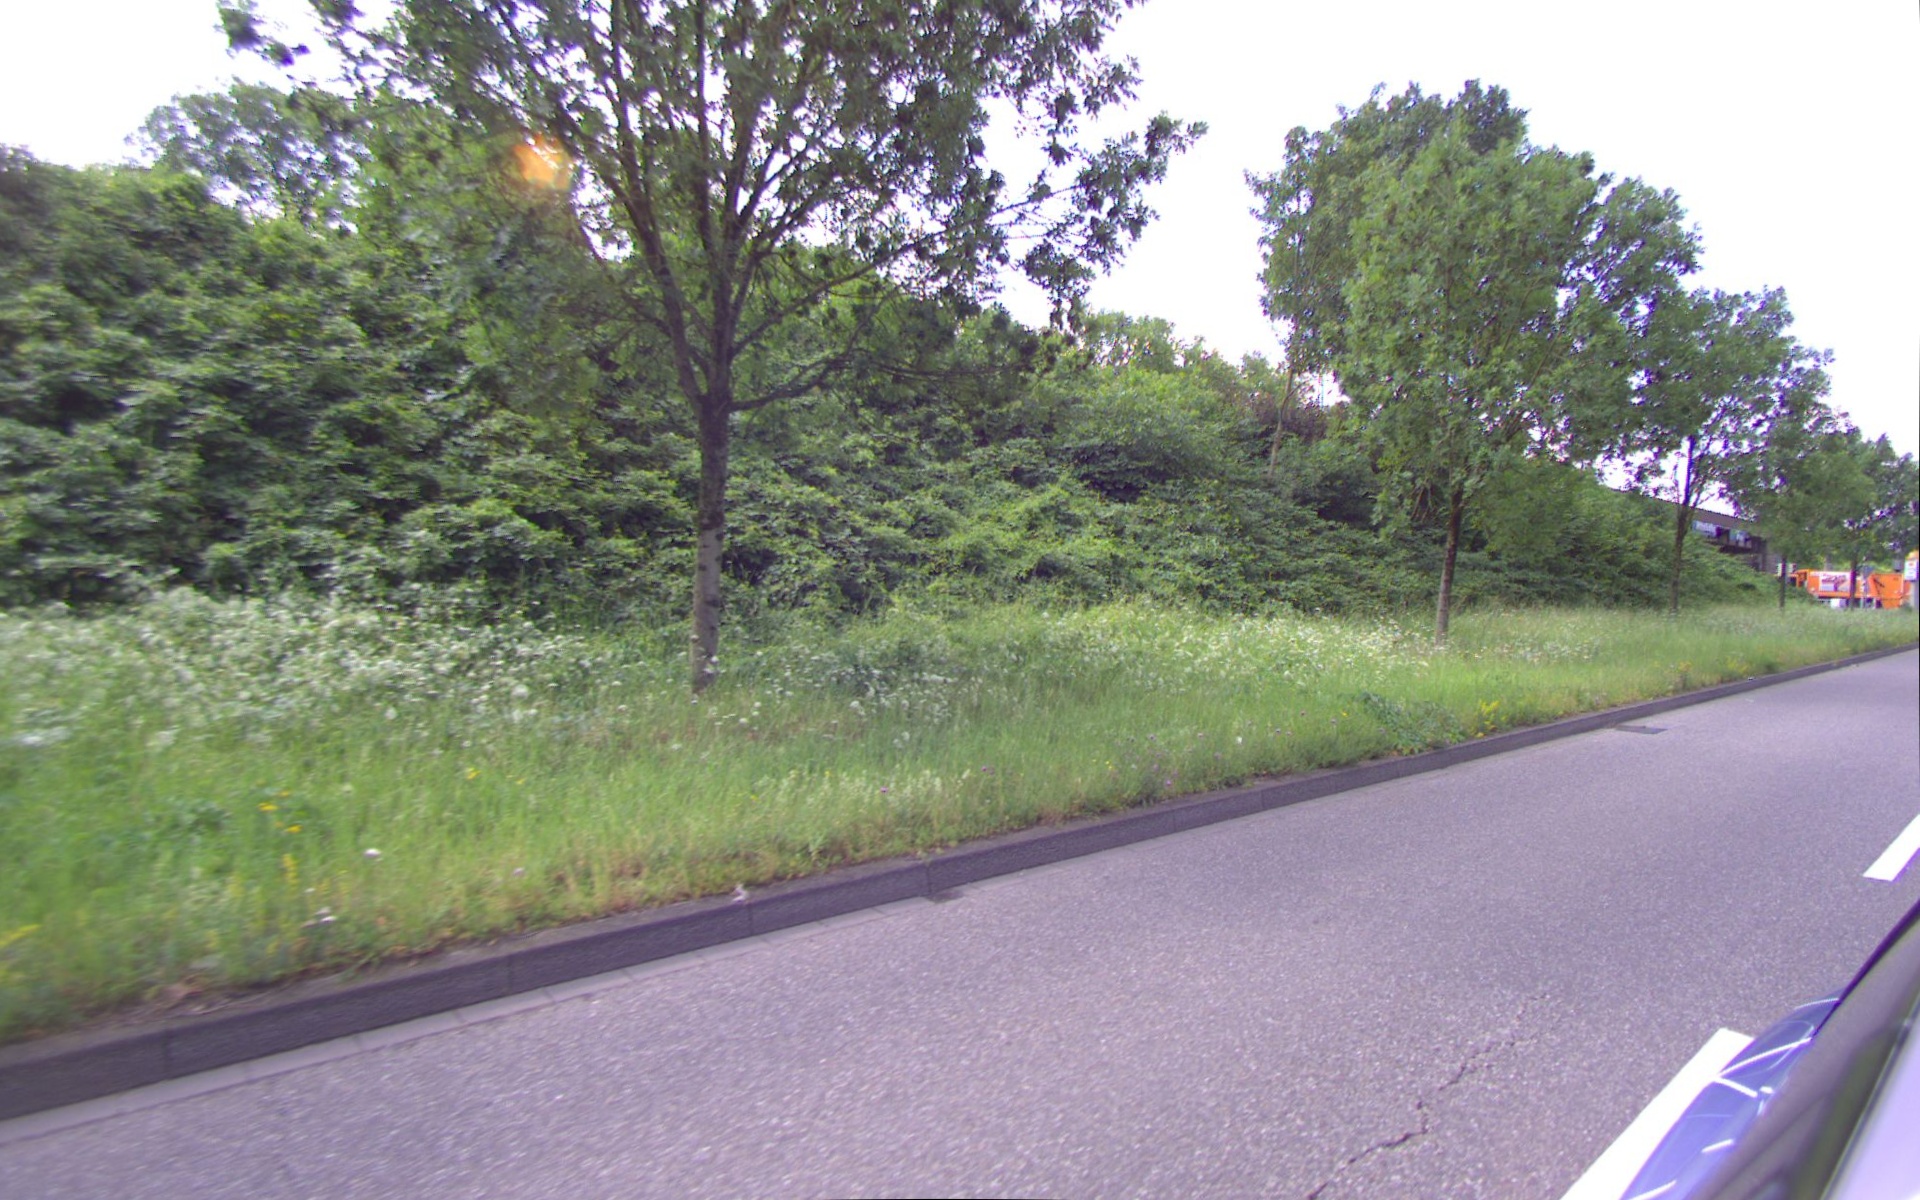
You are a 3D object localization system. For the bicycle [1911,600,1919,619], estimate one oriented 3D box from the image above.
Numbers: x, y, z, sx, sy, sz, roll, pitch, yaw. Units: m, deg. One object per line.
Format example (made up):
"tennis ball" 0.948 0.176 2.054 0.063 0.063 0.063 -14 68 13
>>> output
"bicycle" 58.887 0.585 60.874 2.291 1.106 0.840 0 4 22

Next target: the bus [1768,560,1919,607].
"bus" 72.738 -1.380 82.661 10.243 3.508 2.735 -1 2 15
